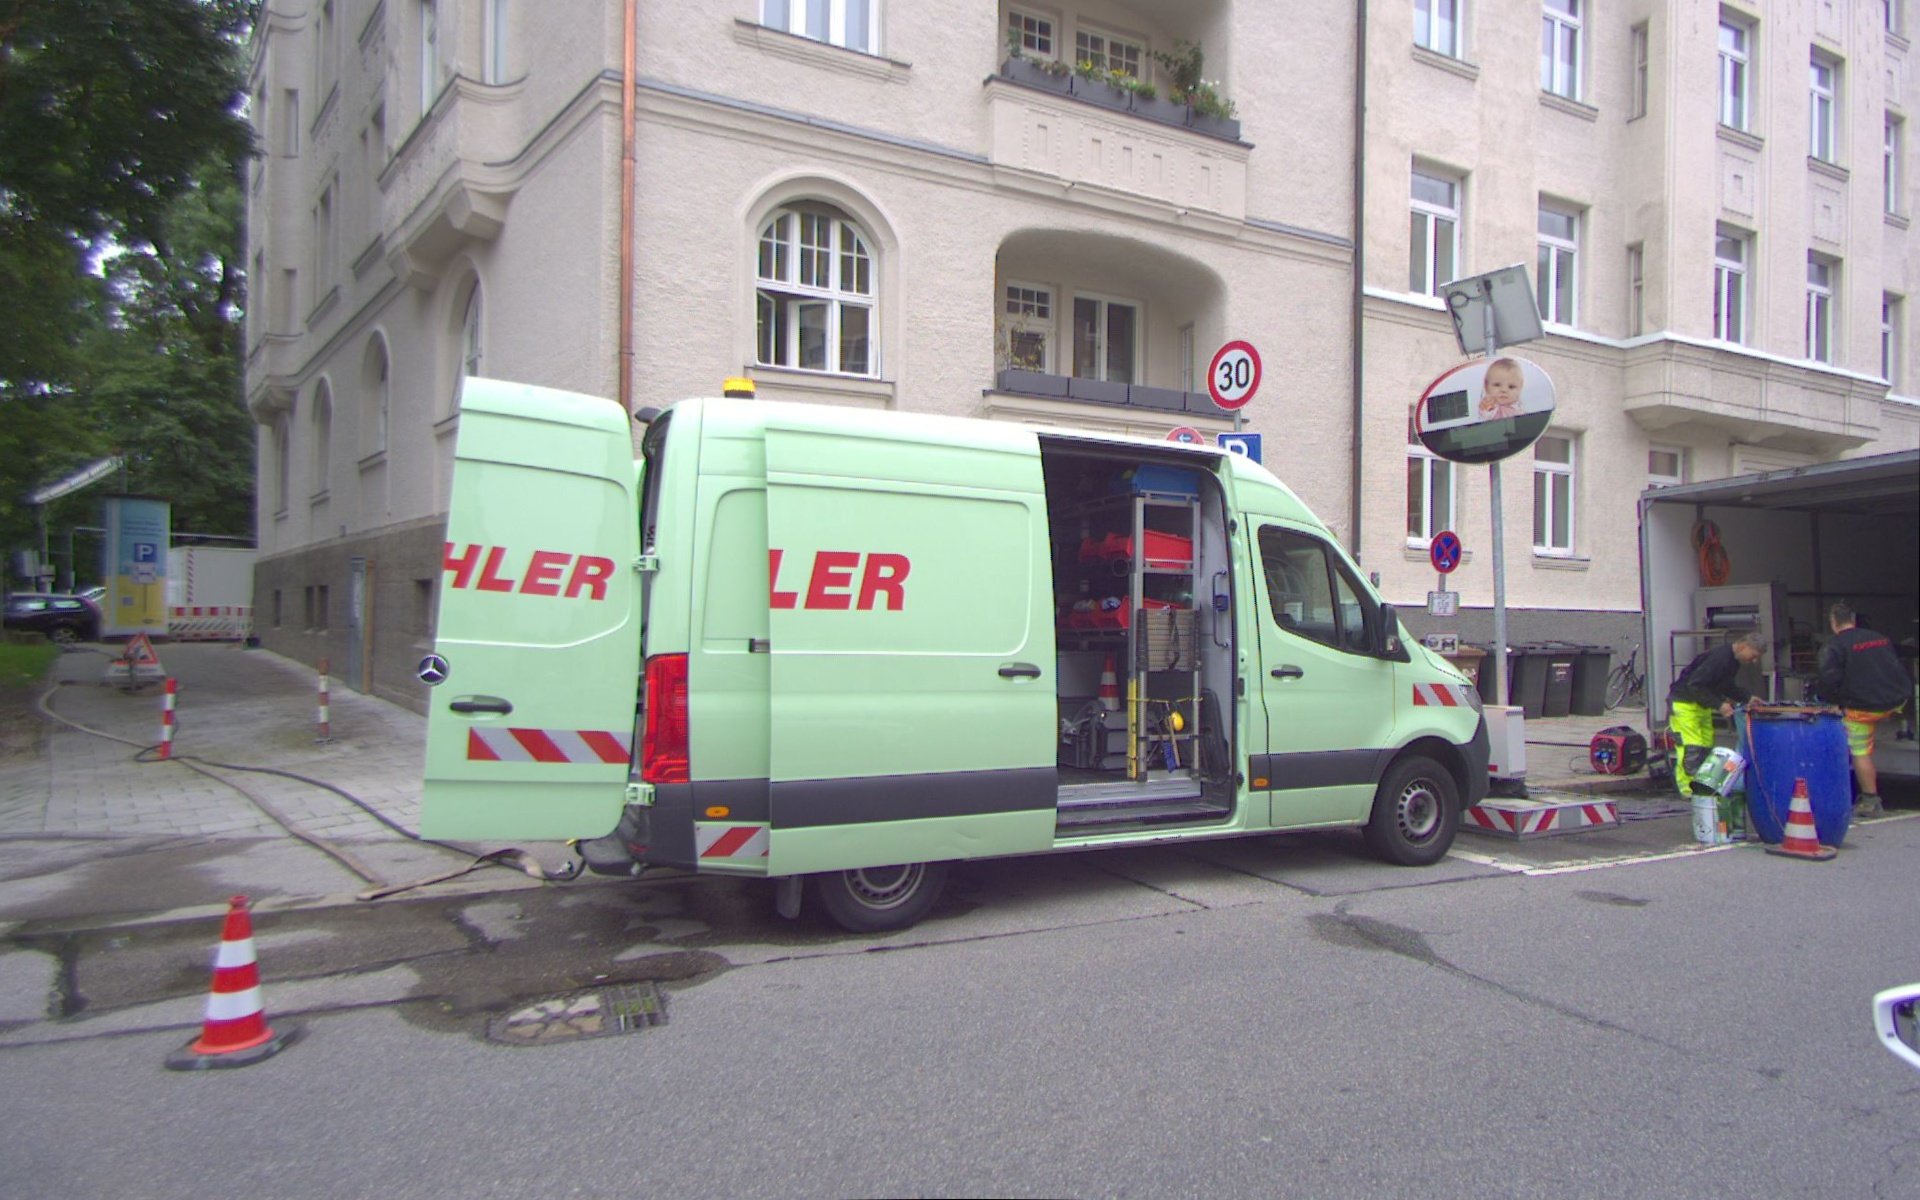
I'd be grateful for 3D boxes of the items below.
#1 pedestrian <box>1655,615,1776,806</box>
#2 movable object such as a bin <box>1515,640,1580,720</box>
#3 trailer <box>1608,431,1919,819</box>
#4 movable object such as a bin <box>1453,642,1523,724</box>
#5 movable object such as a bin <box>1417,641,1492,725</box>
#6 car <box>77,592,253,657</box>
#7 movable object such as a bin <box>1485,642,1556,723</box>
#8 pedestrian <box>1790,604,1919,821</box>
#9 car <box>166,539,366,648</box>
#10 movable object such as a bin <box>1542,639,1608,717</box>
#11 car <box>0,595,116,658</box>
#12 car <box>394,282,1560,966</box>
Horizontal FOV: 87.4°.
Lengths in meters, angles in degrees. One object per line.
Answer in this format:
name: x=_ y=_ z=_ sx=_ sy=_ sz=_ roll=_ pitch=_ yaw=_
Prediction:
pedestrian: x=6.729 y=0.941 z=8.950 sx=0.632 sy=1.601 sz=0.754 roll=2 pitch=-2 yaw=-42
movable object such as a bin: x=8.769 y=1.181 z=15.009 sx=0.546 sy=1.143 sz=0.647 roll=1 pitch=-1 yaw=-22
trailer: x=10.507 y=0.278 z=10.188 sx=7.490 sy=3.007 sz=2.799 roll=0 pitch=-4 yaw=-23
movable object such as a bin: x=7.648 y=1.184 z=14.565 sx=0.629 sy=1.143 sz=0.647 roll=1 pitch=-1 yaw=-22
movable object such as a bin: x=7.027 y=1.166 z=14.292 sx=0.720 sy=1.143 sz=0.647 roll=1 pitch=-1 yaw=-22
car: x=-25.742 y=0.819 z=32.637 sx=1.820 sy=1.972 sz=4.196 roll=0 pitch=-2 yaw=40
movable object such as a bin: x=8.235 y=1.201 z=14.777 sx=0.629 sy=1.143 sz=0.675 roll=1 pitch=-1 yaw=-22
pedestrian: x=7.280 y=0.869 z=8.172 sx=0.633 sy=1.652 sz=0.754 roll=2 pitch=-2 yaw=-44
car: x=-22.165 y=-0.101 z=32.248 sx=2.448 sy=3.216 sz=4.781 roll=0 pitch=-2 yaw=40
movable object such as a bin: x=9.302 y=1.167 z=15.197 sx=0.546 sy=1.143 sz=0.671 roll=1 pitch=-1 yaw=-22
car: x=-25.714 y=0.697 z=27.203 sx=1.636 sy=1.625 sz=4.195 roll=3 pitch=2 yaw=40
car: x=0.477 y=0.150 z=6.207 sx=6.701 sy=2.606 sz=2.135 roll=1 pitch=-1 yaw=-25
